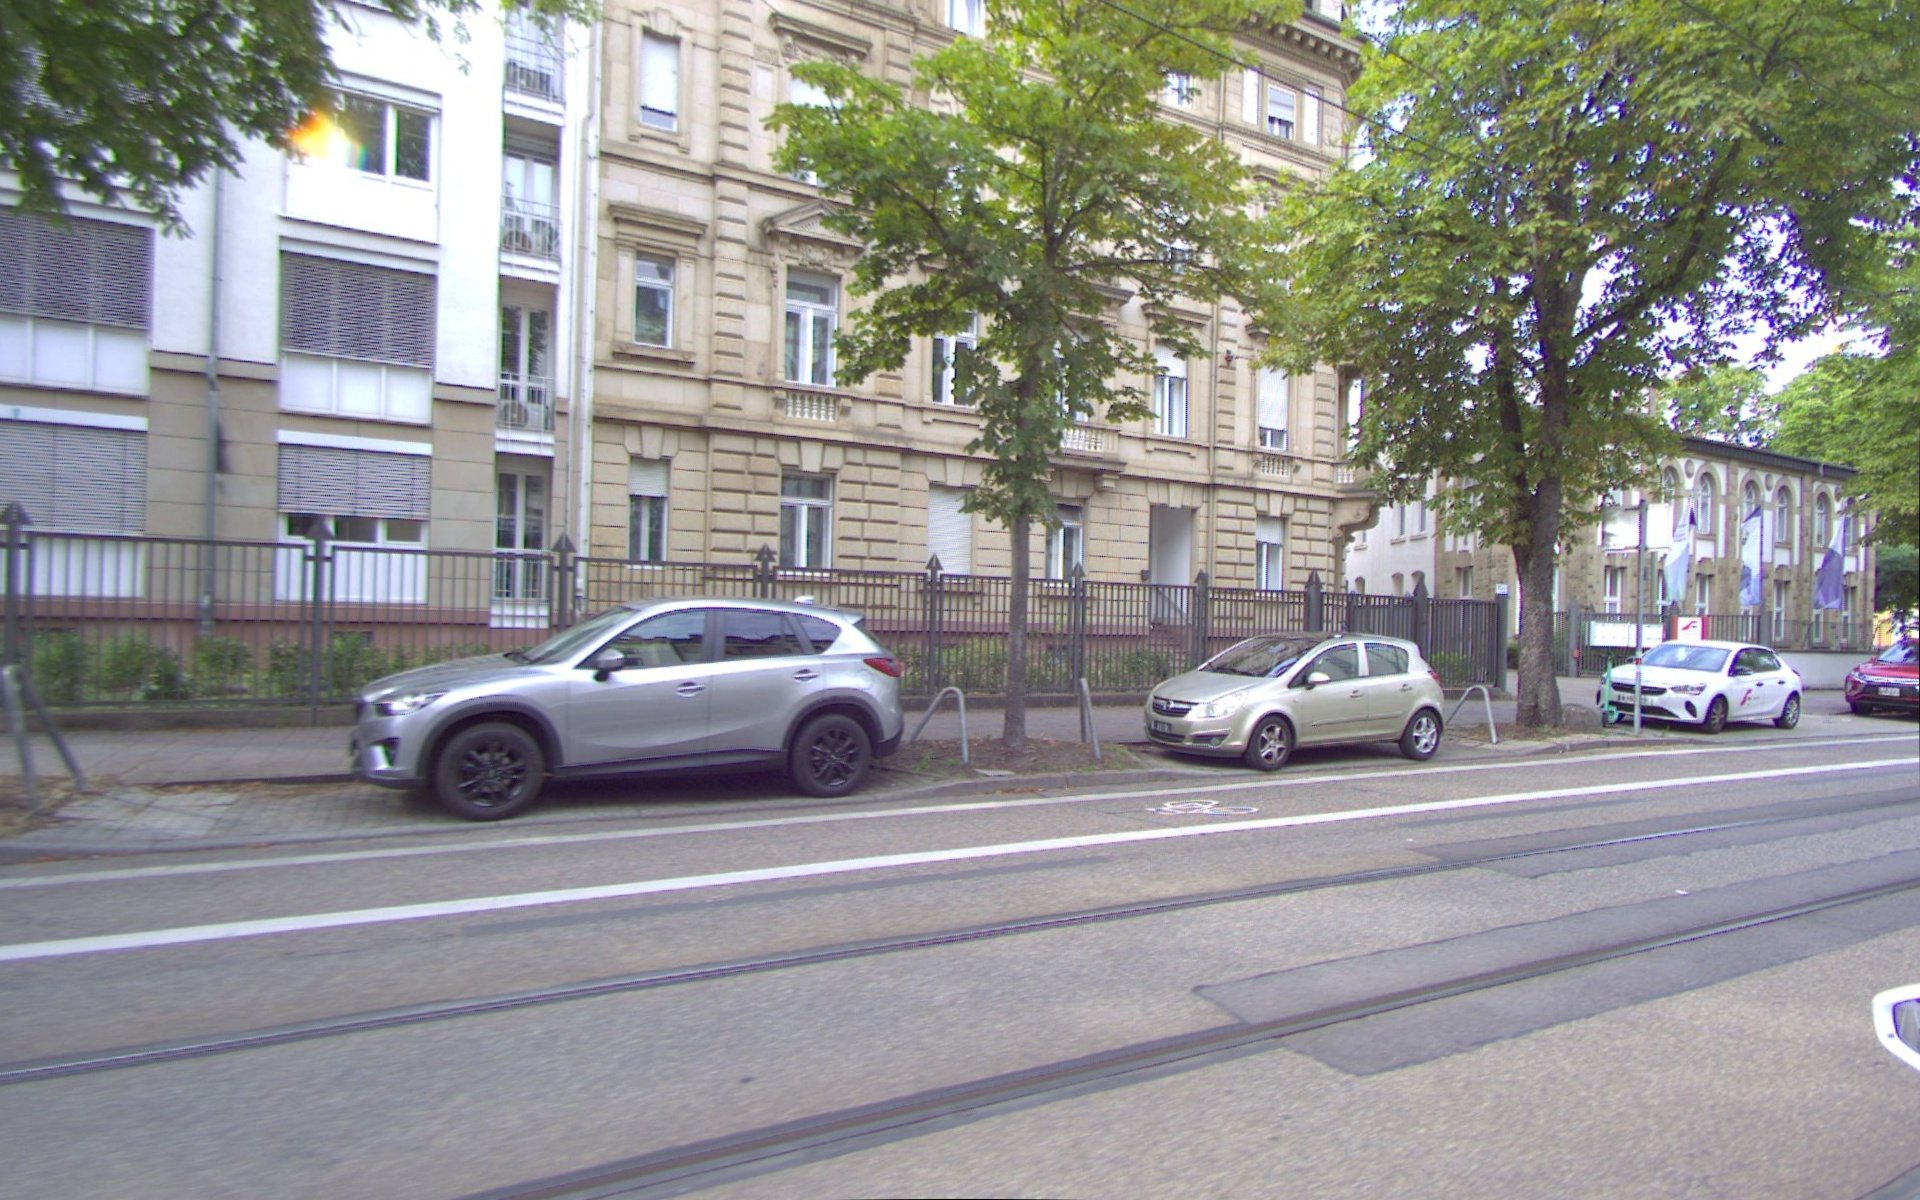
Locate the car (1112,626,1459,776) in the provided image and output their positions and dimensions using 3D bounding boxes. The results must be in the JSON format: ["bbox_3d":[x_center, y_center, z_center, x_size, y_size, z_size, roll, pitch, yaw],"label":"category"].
[{"bbox_3d":[3.925,1.116,11.972,4.028,1.487,1.594,2,-1,-28],"label":"car"}]

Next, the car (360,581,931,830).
[{"bbox_3d":[-2.560,0.783,8.623,4.303,1.696,1.703,2,-1,-28],"label":"car"}]

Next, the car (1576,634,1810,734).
[{"bbox_3d":[12.671,1.403,17.329,3.974,1.443,1.714,2,1,-29],"label":"car"}]

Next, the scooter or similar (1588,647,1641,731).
[{"bbox_3d":[10.374,1.376,15.909,0.554,1.239,1.318,1,-1,39],"label":"scooter or similar"}]

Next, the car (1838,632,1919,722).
[{"bbox_3d":[20.569,1.602,21.116,4.487,1.677,1.714,2,1,-29],"label":"car"}]
